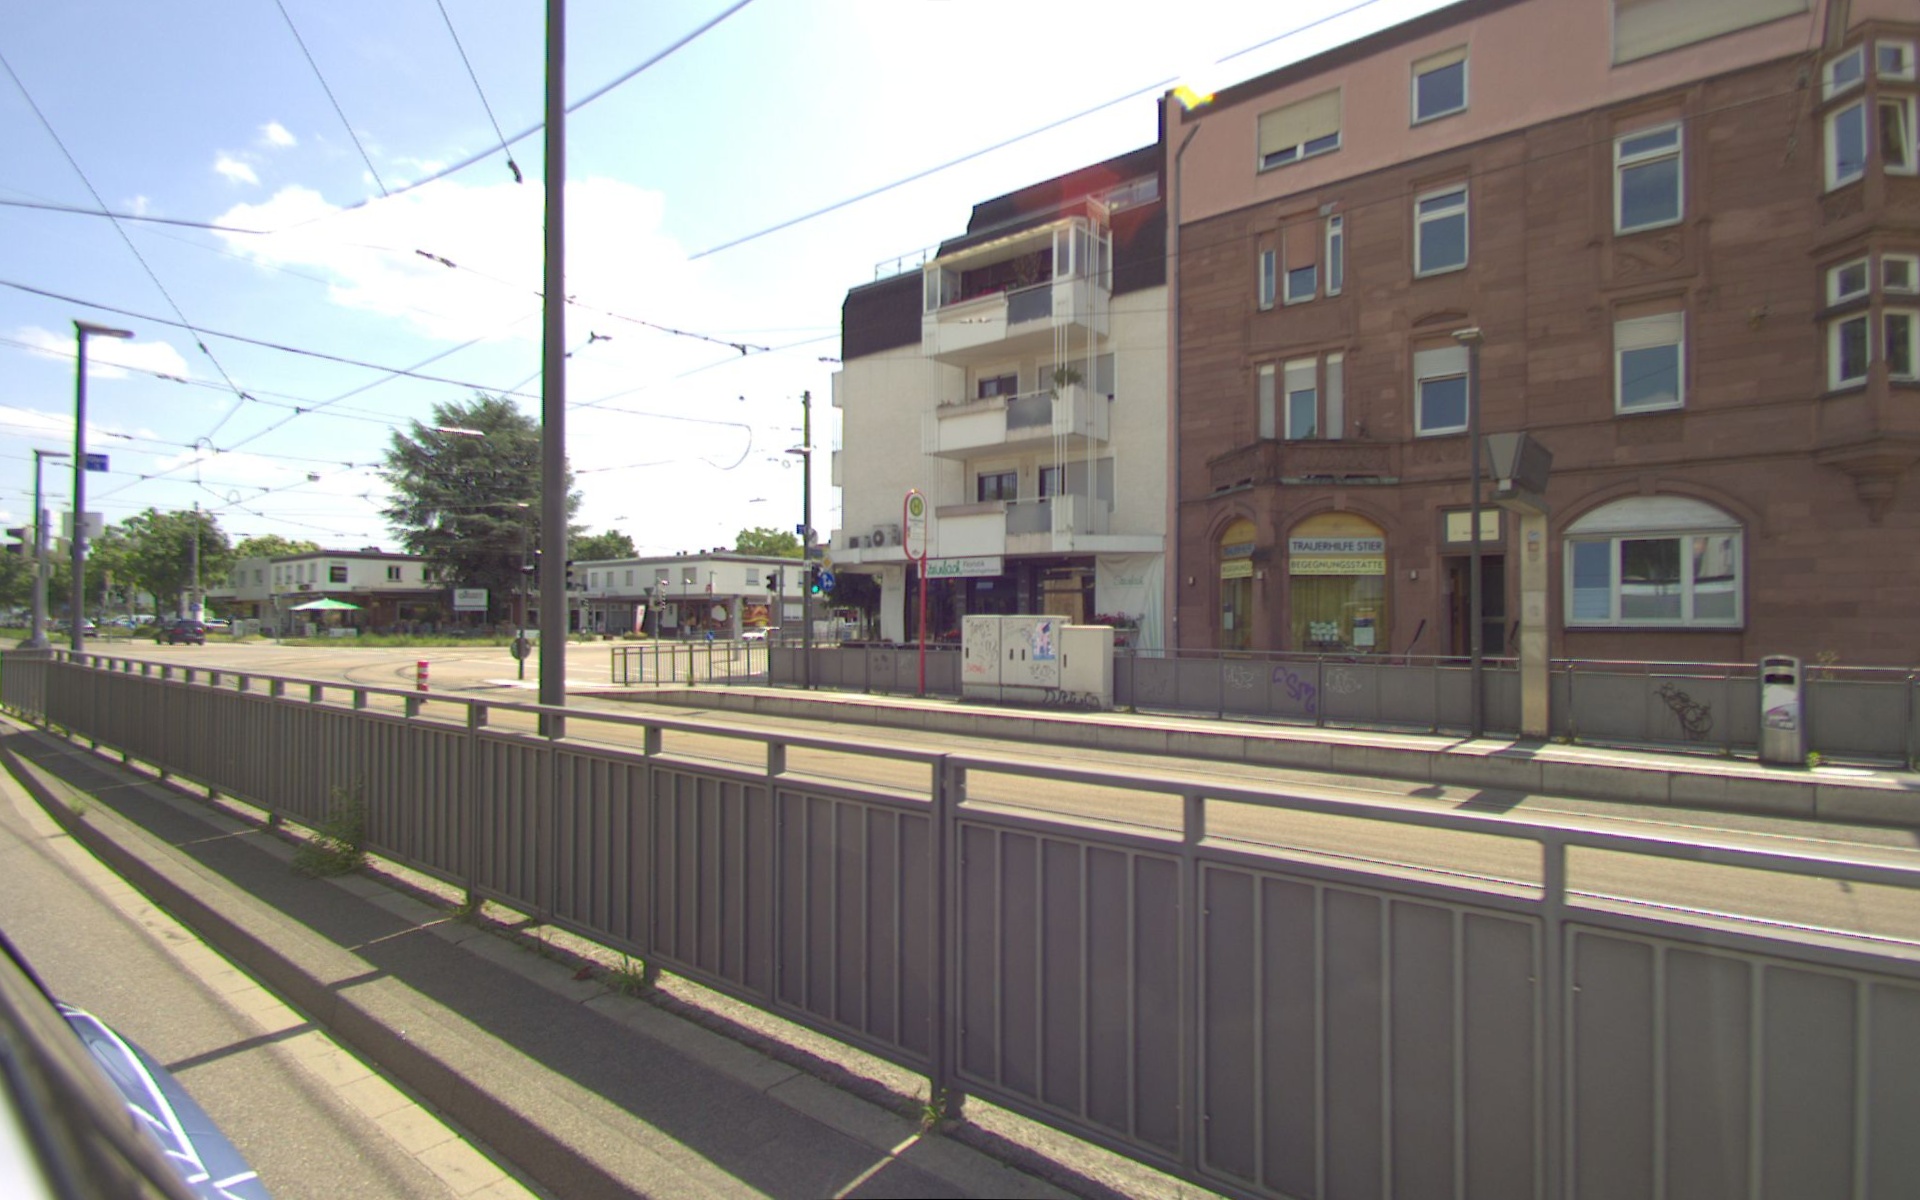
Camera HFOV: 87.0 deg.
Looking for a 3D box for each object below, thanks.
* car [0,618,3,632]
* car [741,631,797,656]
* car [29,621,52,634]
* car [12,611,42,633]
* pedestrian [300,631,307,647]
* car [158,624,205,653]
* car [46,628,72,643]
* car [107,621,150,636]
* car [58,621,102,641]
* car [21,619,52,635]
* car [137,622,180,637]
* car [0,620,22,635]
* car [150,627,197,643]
[{"bbox_3d":[-141.516,3.618,147.717,4.484,2.117,2.046,-1,-2,39],"label":"car"},{"bbox_3d":[-14.633,3.365,77.813,1.899,1.738,3.800,-1,-6,42],"label":"car"},{"bbox_3d":[-105.214,3.134,115.756,4.358,1.551,1.483,-1,-2,42],"label":"car"},{"bbox_3d":[-114.611,2.757,124.249,5.031,2.631,2.128,-1,-2,41],"label":"car"},{"bbox_3d":[-55.279,3.273,85.209,0.532,1.278,0.349,-1,-3,41],"label":"pedestrian"},{"bbox_3d":[-49.176,2.437,63.917,4.281,1.696,1.704,-2,-4,45],"label":"car"},{"bbox_3d":[-97.574,3.848,109.614,4.549,1.551,1.560,-1,-2,42],"label":"car"},{"bbox_3d":[-107.047,3.654,130.340,1.802,1.749,3.945,-1,-6,41],"label":"car"},{"bbox_3d":[-71.242,2.541,81.903,4.397,1.483,1.973,-2,-5,40],"label":"car"},{"bbox_3d":[-109.899,3.196,120.367,4.885,1.851,2.128,-1,-2,41],"label":"car"},{"bbox_3d":[-101.627,3.813,128.385,1.902,1.750,3.945,-2,-5,41],"label":"car"},{"bbox_3d":[-126.633,3.707,134.963,4.646,1.953,1.771,-1,-2,41],"label":"car"},{"bbox_3d":[-92.265,4.105,118.721,1.878,1.750,3.945,-2,-5,41],"label":"car"}]
